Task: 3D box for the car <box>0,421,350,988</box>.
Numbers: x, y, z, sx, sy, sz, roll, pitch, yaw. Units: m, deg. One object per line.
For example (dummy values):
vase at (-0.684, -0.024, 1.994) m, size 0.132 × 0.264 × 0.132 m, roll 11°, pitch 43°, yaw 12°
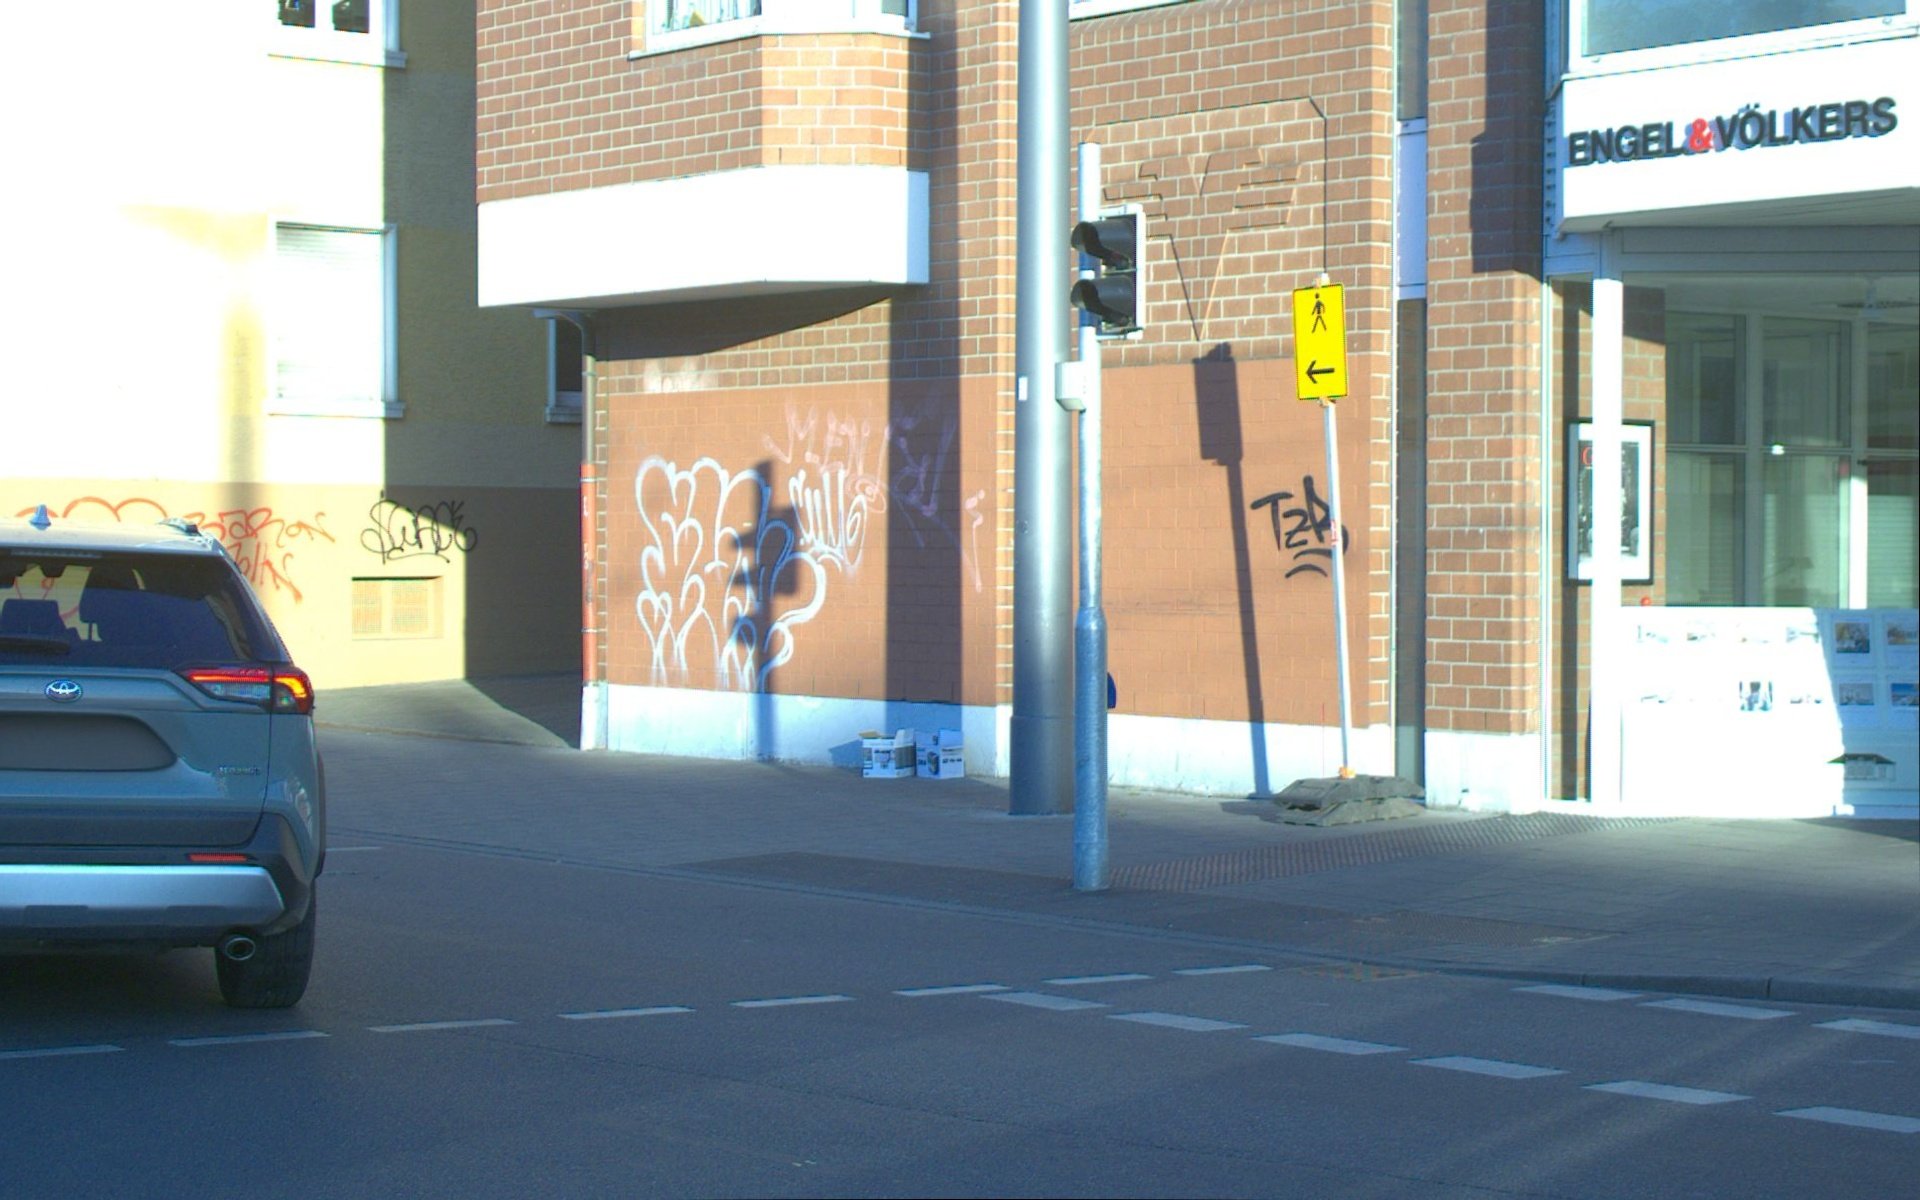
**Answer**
car at (-3.541, 0.337, 12.359) m, size 1.857 × 1.708 × 4.193 m, roll 1°, pitch -1°, yaw -21°
